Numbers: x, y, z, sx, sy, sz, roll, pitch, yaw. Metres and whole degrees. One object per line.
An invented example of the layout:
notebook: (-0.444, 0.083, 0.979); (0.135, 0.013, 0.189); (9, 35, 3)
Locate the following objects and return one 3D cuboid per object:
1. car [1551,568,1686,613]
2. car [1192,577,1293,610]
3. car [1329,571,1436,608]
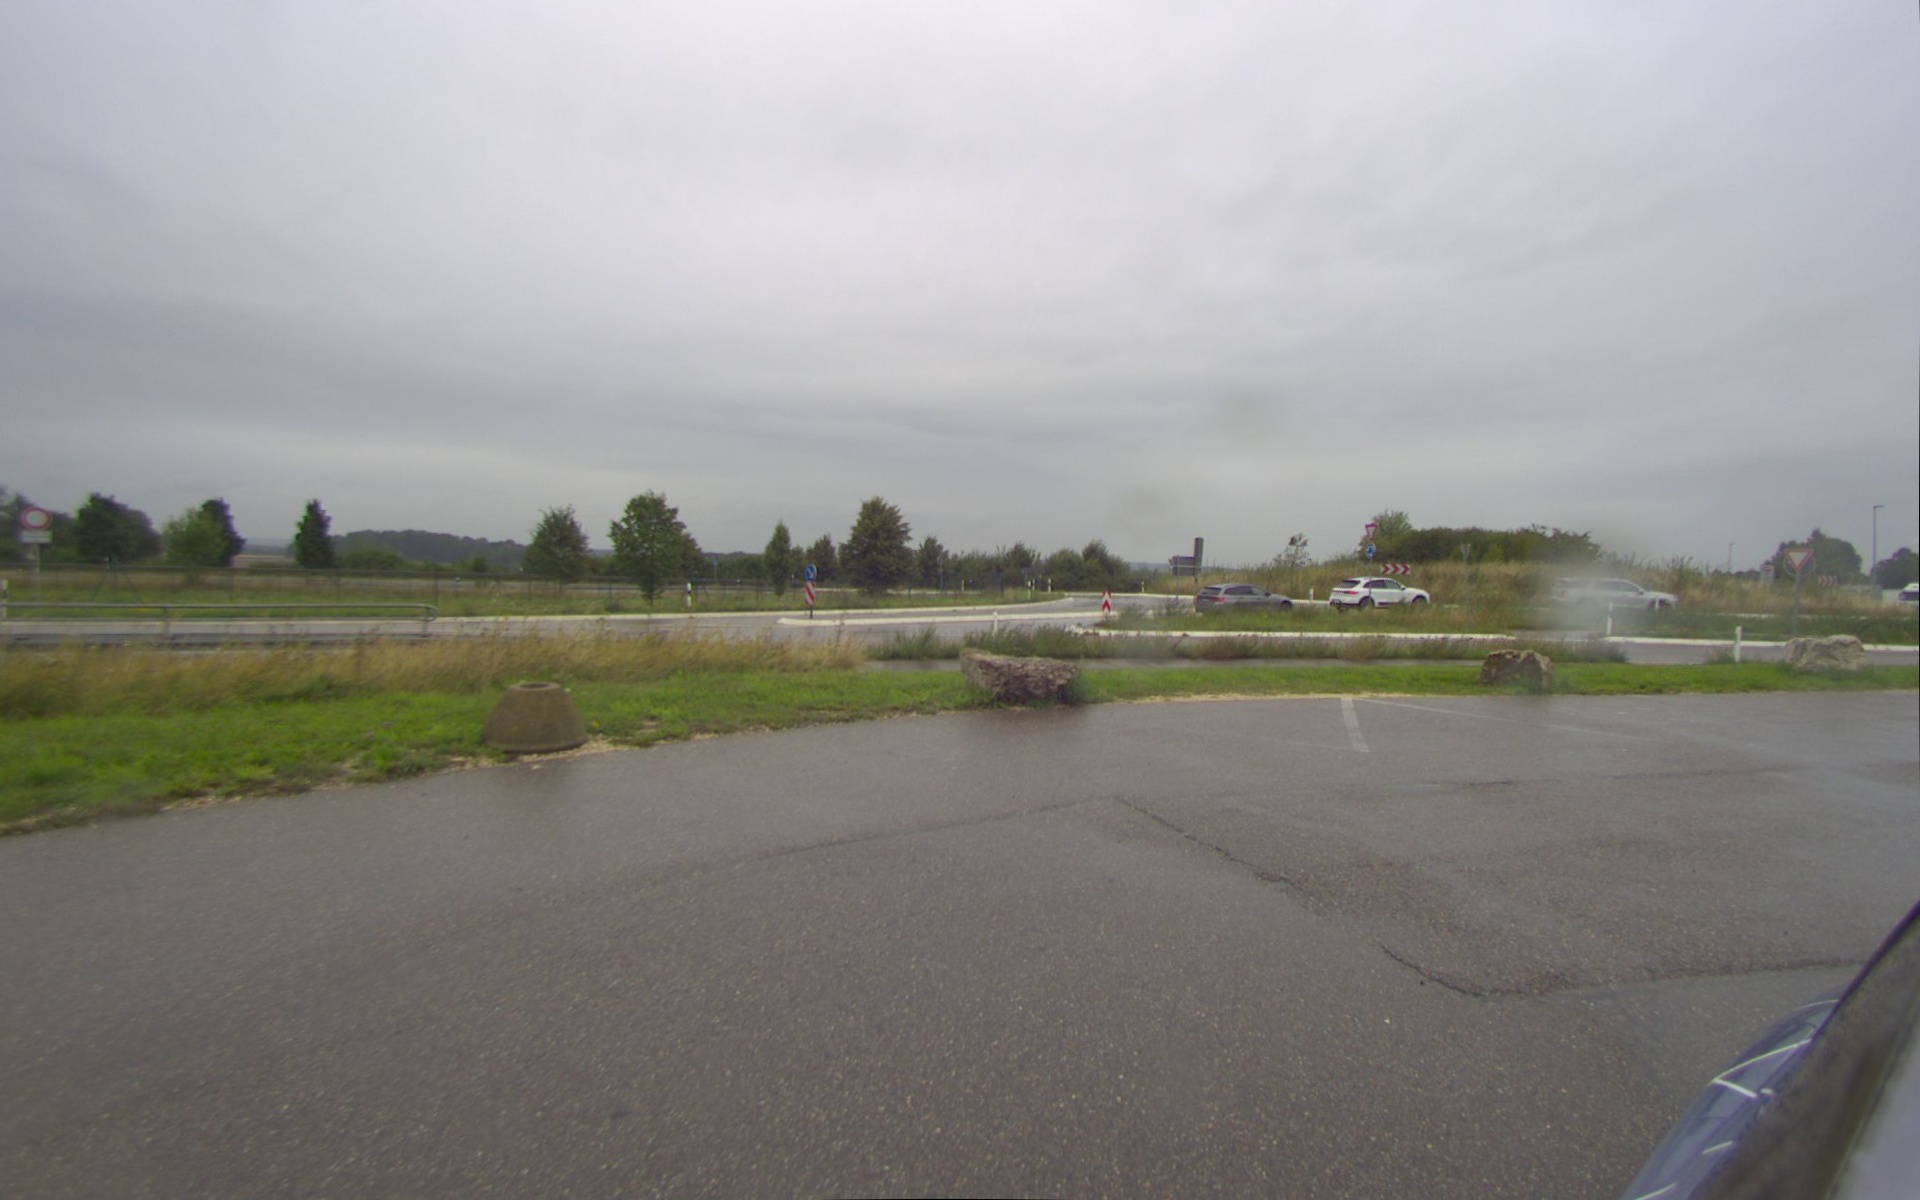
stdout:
car: (29.254, -0.459, 45.121); (4.582, 1.896, 1.989); (1, 1, 17)
car: (11.927, -0.273, 42.778); (3.960, 1.342, 1.697); (0, 1, -25)
car: (19.160, -0.469, 45.941); (4.294, 1.604, 1.697); (0, 1, -13)
